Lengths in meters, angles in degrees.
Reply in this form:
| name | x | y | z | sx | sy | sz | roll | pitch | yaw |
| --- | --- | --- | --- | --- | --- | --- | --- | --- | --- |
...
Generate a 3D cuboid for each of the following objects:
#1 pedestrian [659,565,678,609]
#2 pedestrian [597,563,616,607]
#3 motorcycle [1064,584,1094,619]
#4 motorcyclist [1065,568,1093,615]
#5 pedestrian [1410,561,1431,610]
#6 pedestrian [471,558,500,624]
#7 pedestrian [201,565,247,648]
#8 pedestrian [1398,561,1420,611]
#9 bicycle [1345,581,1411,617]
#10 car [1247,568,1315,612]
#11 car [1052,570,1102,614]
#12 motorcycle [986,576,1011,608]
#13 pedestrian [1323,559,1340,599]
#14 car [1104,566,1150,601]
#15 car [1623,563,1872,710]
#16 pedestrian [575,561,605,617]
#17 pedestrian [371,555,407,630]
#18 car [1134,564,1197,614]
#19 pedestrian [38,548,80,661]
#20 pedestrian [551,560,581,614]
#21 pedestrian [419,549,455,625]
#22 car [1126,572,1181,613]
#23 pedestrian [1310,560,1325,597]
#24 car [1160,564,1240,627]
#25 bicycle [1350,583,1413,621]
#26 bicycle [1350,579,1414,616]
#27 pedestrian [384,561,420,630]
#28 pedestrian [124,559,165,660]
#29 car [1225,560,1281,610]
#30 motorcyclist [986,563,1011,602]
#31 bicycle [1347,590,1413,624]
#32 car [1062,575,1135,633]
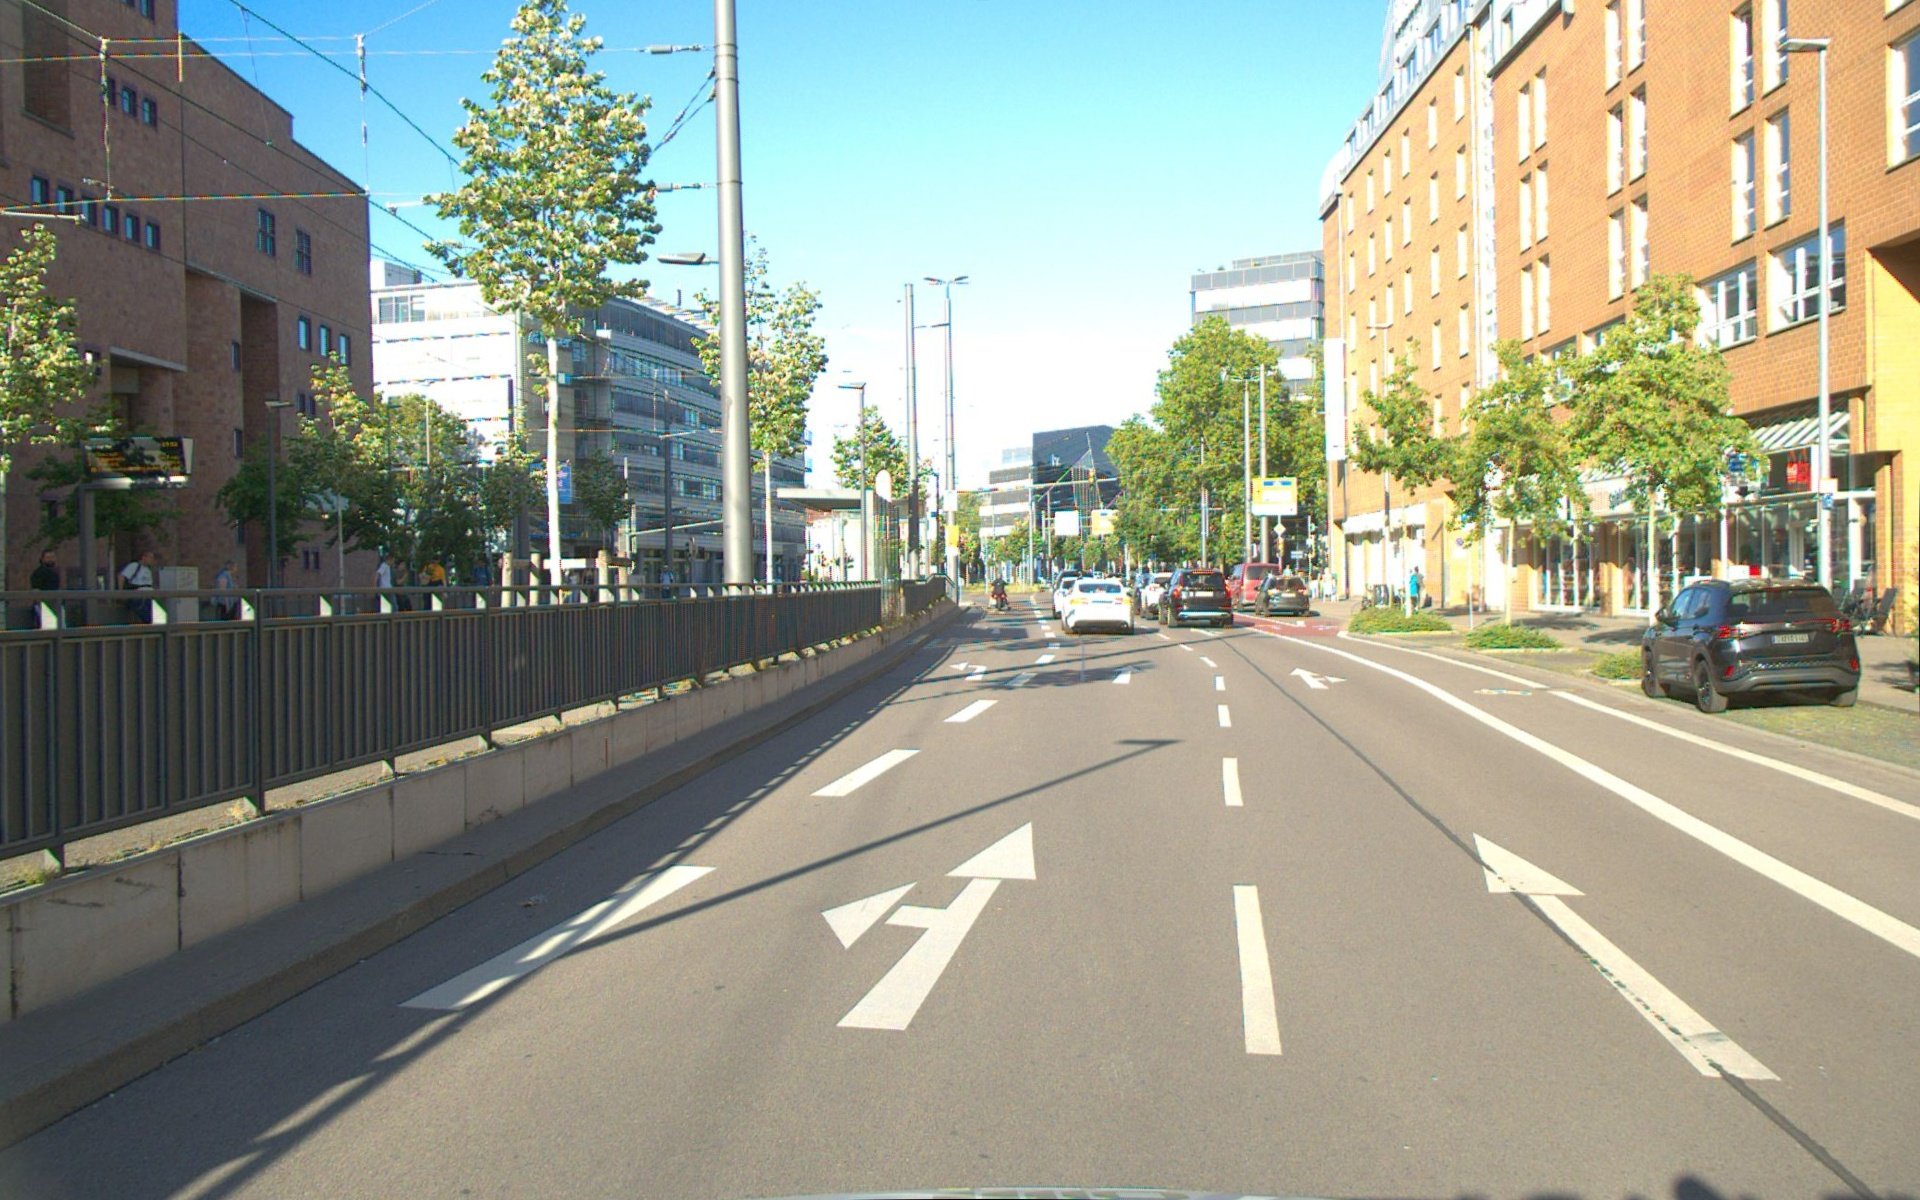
| name | x | y | z | sx | sy | sz | roll | pitch | yaw |
| --- | --- | --- | --- | --- | --- | --- | --- | --- | --- |
| pedestrian | -12.225 | -0.562 | 69.464 | 0.601 | 1.849 | 0.897 | 0 | 1 | 2 |
| pedestrian | -13.067 | -0.552 | 61.145 | 0.551 | 1.637 | 0.616 | 0 | 1 | 2 |
| motorcycle | 3.876 | 0.034 | 53.873 | 0.820 | 1.080 | 2.553 | -1 | 1 | 1 |
| motorcyclist | 3.860 | -0.273 | 53.832 | 0.820 | 1.501 | 1.236 | -1 | 1 | 1 |
| pedestrian | 17.537 | -0.543 | 63.035 | 0.594 | 1.853 | 0.748 | -1 | 0 | 1 |
| pedestrian | -12.824 | -0.244 | 44.689 | 0.569 | 1.768 | 0.616 | 0 | 1 | 2 |
| pedestrian | -13.475 | 0.111 | 30.283 | 0.528 | 1.485 | 0.642 | 1 | 1 | 2 |
| pedestrian | 16.827 | -0.518 | 62.033 | 0.594 | 1.853 | 0.748 | -1 | 0 | 1 |
| bicycle | 12.853 | -0.020 | 50.828 | 1.904 | 1.040 | 0.502 | -2 | 0 | 20 |
| car | 12.117 | -0.411 | 62.698 | 1.808 | 1.588 | 4.634 | 1 | 1 | 2 |
| car | 4.166 | -0.319 | 59.485 | 1.657 | 1.523 | 4.410 | 1 | 1 | 2 |
| motorcycle | 1.657 | -0.348 | 70.849 | 0.998 | 1.335 | 2.916 | 1 | 1 | 2 |
| pedestrian | 17.337 | -0.965 | 77.212 | 0.594 | 1.853 | 0.748 | -1 | 0 | 1 |
| car | 7.568 | -0.764 | 75.228 | 1.812 | 1.524 | 4.380 | 0 | 1 | 2 |
| car | 10.028 | 0.396 | 21.405 | 1.684 | 1.665 | 4.235 | -2 | 1 | 8 |
| pedestrian | -11.221 | -0.333 | 50.157 | 0.627 | 1.672 | 0.946 | 1 | 1 | 2 |
| pedestrian | -13.317 | -0.183 | 38.587 | 0.609 | 1.744 | 0.616 | 0 | 1 | 2 |
| car | 7.195 | -0.362 | 58.256 | 1.812 | 1.668 | 4.380 | 0 | 0 | 2 |
| pedestrian | -13.534 | 0.059 | 24.852 | 0.370 | 1.677 | 0.416 | 1 | 1 | 2 |
| pedestrian | -11.945 | -0.397 | 50.211 | 0.627 | 1.636 | 0.946 | 1 | 1 | 2 |
| pedestrian | -11.950 | -0.299 | 37.800 | 0.627 | 1.725 | 0.541 | 1 | 1 | 2 |
| car | 7.575 | -0.327 | 65.026 | 1.812 | 1.524 | 4.380 | 0 | 1 | 2 |
| pedestrian | 18.025 | -1.074 | 83.320 | 0.594 | 1.853 | 0.748 | -1 | 0 | 1 |
| car | 7.301 | -0.173 | 50.640 | 1.934 | 1.790 | 4.634 | 1 | 1 | 2 |
| bicycle | 13.395 | 0.065 | 52.555 | 1.903 | 1.157 | 0.491 | -2 | 0 | 13 |
| bicycle | 13.268 | -0.083 | 52.039 | 1.903 | 1.094 | 0.555 | -2 | 0 | 13 |
| pedestrian | -13.273 | -0.115 | 39.355 | 0.609 | 1.640 | 0.616 | 0 | 1 | 2 |
| pedestrian | -13.548 | 0.147 | 27.482 | 0.370 | 1.649 | 0.553 | 1 | 1 | 2 |
| car | 12.234 | -0.649 | 69.205 | 1.821 | 1.995 | 4.002 | -1 | 1 | 3 |
| motorcyclist | 1.659 | -0.753 | 70.895 | 0.998 | 1.631 | 1.149 | 1 | 1 | 2 |
| bicycle | 13.037 | 0.215 | 51.338 | 1.904 | 0.986 | 0.554 | -2 | 0 | 20 |
| car | 3.724 | 0.062 | 45.161 | 1.743 | 1.439 | 4.820 | 1 | 1 | 2 |
